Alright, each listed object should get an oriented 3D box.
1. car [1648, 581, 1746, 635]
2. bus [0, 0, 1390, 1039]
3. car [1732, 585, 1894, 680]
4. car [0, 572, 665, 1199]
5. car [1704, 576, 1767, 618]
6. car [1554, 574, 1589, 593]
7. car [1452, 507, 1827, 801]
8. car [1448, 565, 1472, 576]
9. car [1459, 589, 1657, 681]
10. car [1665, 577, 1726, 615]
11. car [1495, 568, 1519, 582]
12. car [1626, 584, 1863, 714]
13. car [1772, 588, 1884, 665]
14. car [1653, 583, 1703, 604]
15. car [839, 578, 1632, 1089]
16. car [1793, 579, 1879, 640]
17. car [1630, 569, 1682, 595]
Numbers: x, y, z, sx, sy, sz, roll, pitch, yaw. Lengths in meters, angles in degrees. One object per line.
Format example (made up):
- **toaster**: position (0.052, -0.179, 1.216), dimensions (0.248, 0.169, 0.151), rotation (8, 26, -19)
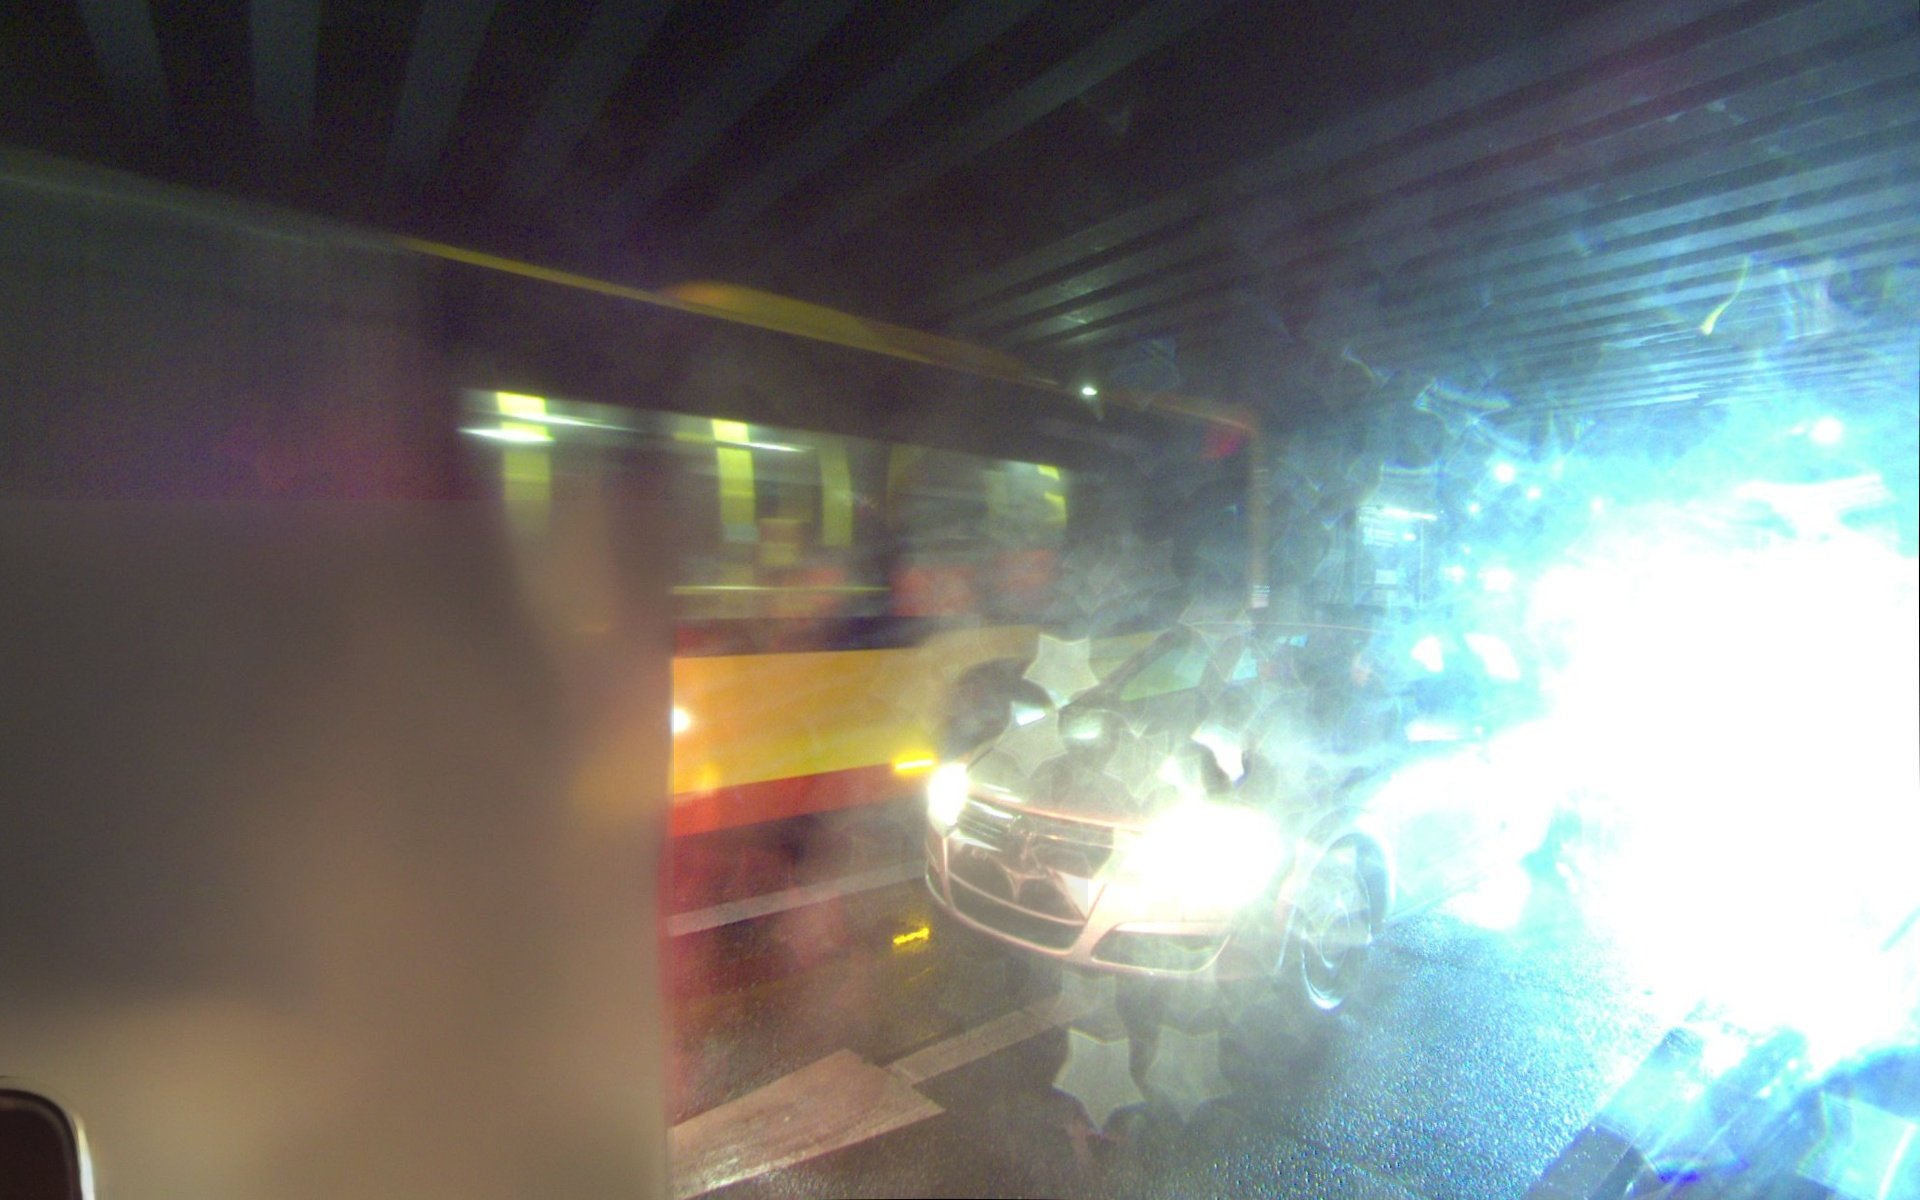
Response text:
- **car**: position (22.302, 0.230, 30.553), dimensions (1.848, 1.503, 4.557), rotation (2, 1, 43)
- **bus**: position (-0.570, -0.252, 7.029), dimensions (9.593, 3.163, 2.773), rotation (0, 0, -42)
- **car**: position (15.366, 0.500, 18.165), dimensions (3.930, 1.522, 1.628), rotation (-1, 0, -41)
- **car**: position (-2.674, 0.688, 0.995), dimensions (4.273, 1.422, 1.719), rotation (-1, 0, -41)
- **car**: position (39.716, -0.164, 51.908), dimensions (1.982, 2.039, 3.959), rotation (0, 0, 29)
- **car**: position (49.381, -1.324, 81.794), dimensions (1.861, 1.490, 3.969), rotation (0, 0, 23)
- **car**: position (6.505, 0.364, 9.493), dimensions (4.274, 2.115, 1.996), rotation (-1, 0, -43)
- **car**: position (68.377, -4.020, 138.422), dimensions (1.851, 1.490, 3.990), rotation (0, 0, 9)
- **car**: position (11.187, 0.555, 18.803), dimensions (4.548, 1.497, 1.840), rotation (-1, 0, -41)
- **car**: position (30.463, -0.164, 41.855), dimensions (1.845, 1.474, 4.439), rotation (1, 1, 39)
- **car**: position (62.890, -2.874, 116.384), dimensions (1.858, 1.490, 3.975), rotation (0, 0, 19)
- **car**: position (10.770, 0.555, 13.815), dimensions (3.701, 1.531, 1.867), rotation (-1, 0, -41)
- **car**: position (18.750, 0.504, 21.810), dimensions (1.678, 1.490, 3.938), rotation (0, 0, 43)
- **car**: position (54.062, -0.480, 76.271), dimensions (1.830, 1.503, 4.457), rotation (1, 1, 19)
- **car**: position (1.561, 0.625, 4.838), dimensions (3.931, 1.384, 1.791), rotation (-2, 2, -41)
- **car**: position (24.586, 0.223, 28.366), dimensions (1.737, 1.610, 3.939), rotation (0, 0, 42)
- **car**: position (40.766, -1.087, 59.393), dimensions (1.835, 1.449, 4.463), rotation (0, 2, 26)
